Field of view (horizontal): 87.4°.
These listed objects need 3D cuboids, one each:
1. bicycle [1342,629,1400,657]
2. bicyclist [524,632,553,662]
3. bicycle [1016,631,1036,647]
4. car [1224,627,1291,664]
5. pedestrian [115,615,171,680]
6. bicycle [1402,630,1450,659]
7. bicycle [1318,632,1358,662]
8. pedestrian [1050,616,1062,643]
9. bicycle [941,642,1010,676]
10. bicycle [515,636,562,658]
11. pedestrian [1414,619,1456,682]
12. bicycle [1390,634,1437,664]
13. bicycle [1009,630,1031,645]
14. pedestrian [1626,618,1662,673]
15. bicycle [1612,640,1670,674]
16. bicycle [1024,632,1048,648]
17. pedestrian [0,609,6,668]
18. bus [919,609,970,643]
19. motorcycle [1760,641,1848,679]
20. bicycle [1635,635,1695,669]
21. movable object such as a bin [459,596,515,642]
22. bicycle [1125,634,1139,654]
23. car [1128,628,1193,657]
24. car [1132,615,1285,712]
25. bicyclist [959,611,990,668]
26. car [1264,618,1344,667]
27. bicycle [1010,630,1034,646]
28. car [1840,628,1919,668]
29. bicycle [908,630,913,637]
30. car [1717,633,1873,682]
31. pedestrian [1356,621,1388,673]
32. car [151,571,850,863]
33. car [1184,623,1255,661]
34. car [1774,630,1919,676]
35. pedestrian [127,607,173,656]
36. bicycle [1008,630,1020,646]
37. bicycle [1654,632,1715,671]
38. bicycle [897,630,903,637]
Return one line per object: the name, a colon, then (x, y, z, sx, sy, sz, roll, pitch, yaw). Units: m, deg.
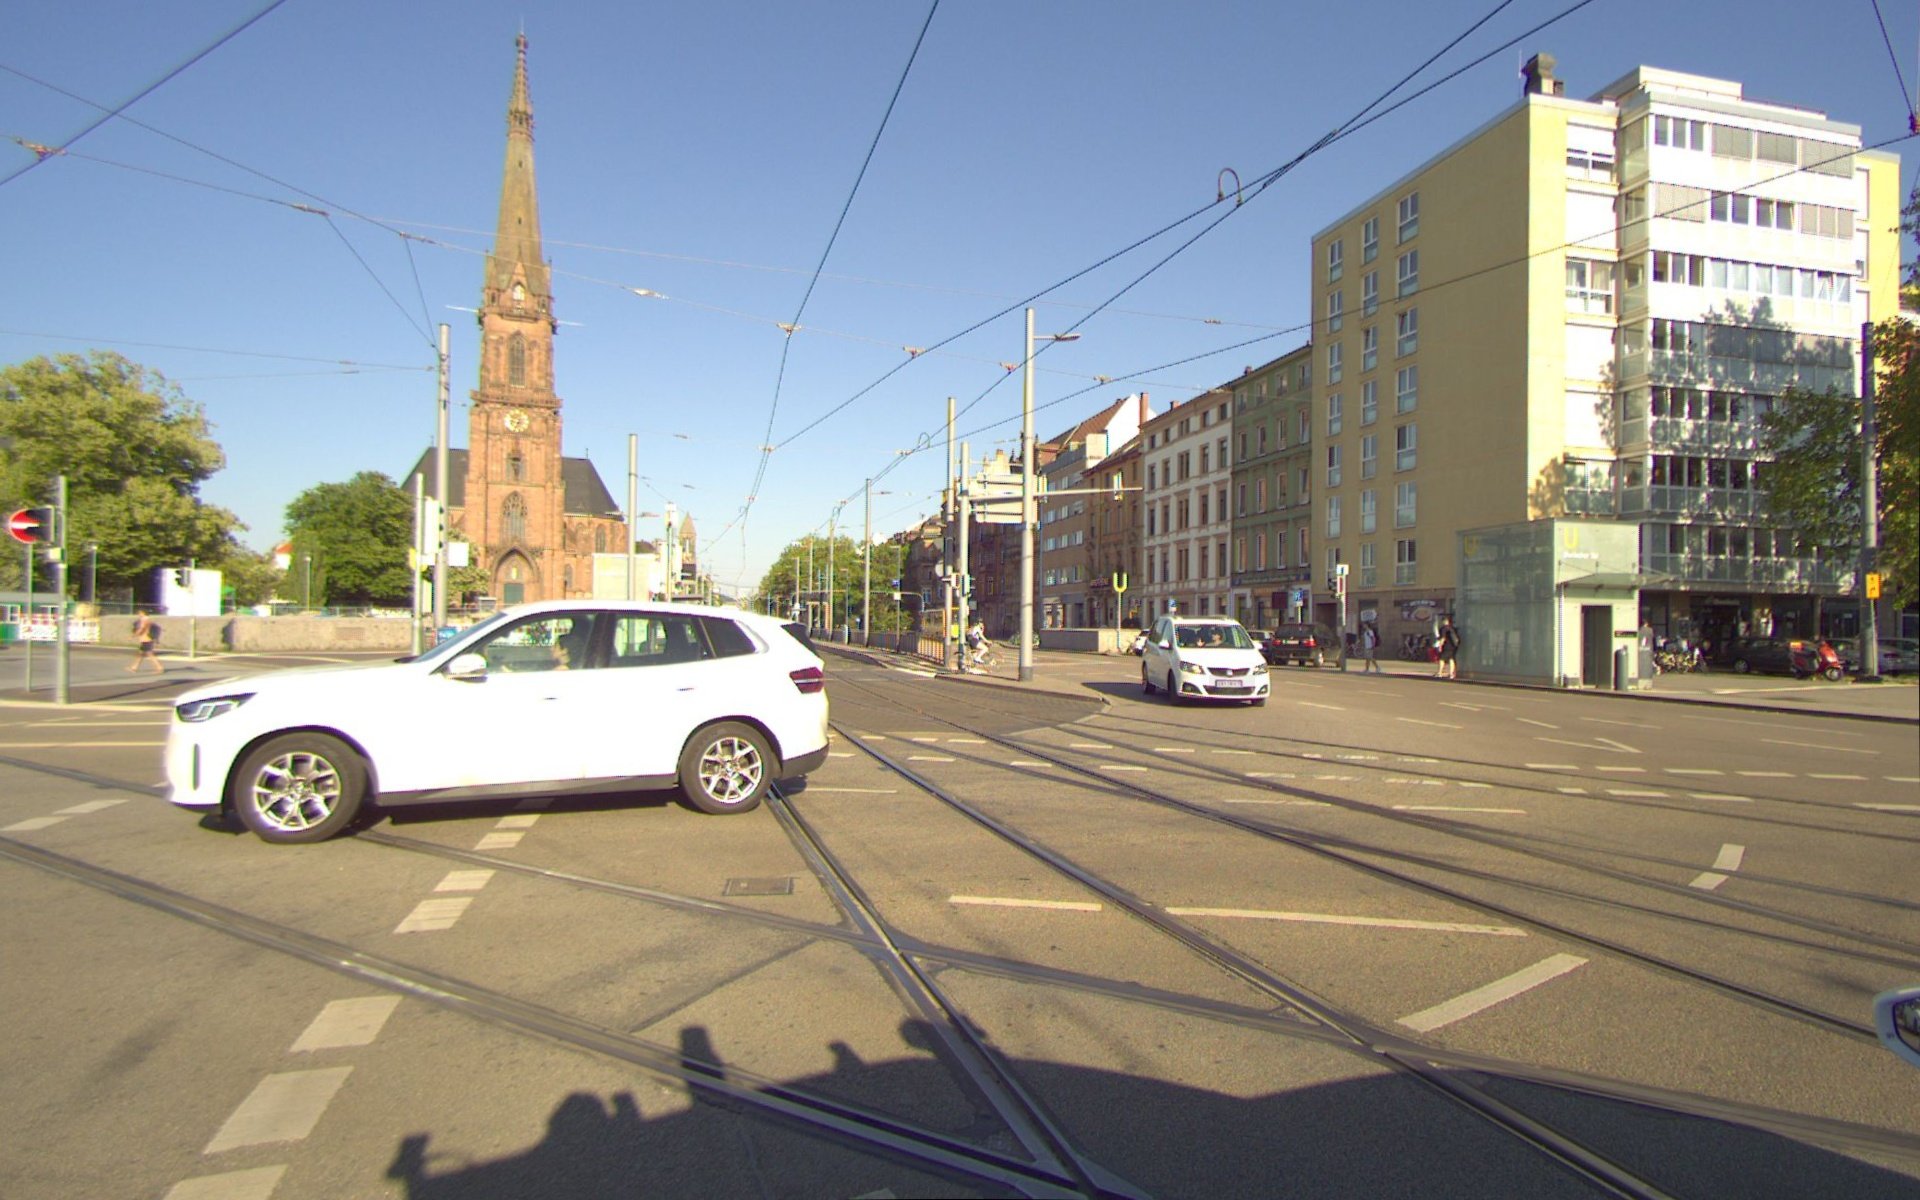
bicycle: (19.741, 2.053, 48.313, 0.971, 1.280, 3.053, 1, -2, -14)
bicyclist: (-19.953, 2.226, 47.589, 0.800, 1.362, 0.901, 2, -1, 24)
bicycle: (4.913, 2.912, 75.212, 0.465, 1.162, 1.753, 2, -1, -36)
car: (12.922, 1.987, 43.444, 1.758, 1.417, 3.884, 1, -3, 33)
pedestrian: (-22.340, 1.275, 27.485, 1.044, 1.709, 0.722, -1, 2, -30)
bicycle: (21.182, 2.004, 45.729, 0.649, 1.265, 2.292, 0, -1, -15)
bicycle: (19.193, 2.360, 51.094, 0.916, 1.375, 2.225, 0, 1, -9)
pedestrian: (7.471, 2.294, 77.896, 0.740, 2.041, 0.696, 0, 2, -13)
bicycle: (0.446, 1.718, 29.504, 1.865, 0.954, 0.812, 0, -1, -18)
bicycle: (-19.957, 2.226, 47.585, 0.800, 0.954, 2.001, 2, -1, 24)
pedestrian: (13.547, 1.419, 28.636, 0.790, 1.750, 0.858, 2, -2, -45)
bicycle: (20.483, 2.202, 45.440, 0.648, 1.265, 2.292, 0, -1, -15)
bicycle: (4.785, 2.990, 80.058, 1.740, 1.203, 0.469, 2, -1, -14)
pedestrian: (22.216, 1.481, 32.634, 0.738, 1.750, 0.698, 0, -1, 8)
bicycle: (26.212, 2.176, 38.667, 1.967, 1.265, 0.812, 0, -1, -19)
bicycle: (5.765, 3.038, 76.161, 1.740, 1.194, 0.469, 2, -1, -14)
pedestrian: (-29.328, 1.178, 29.914, 0.791, 1.792, 1.176, 0, 2, -13)
bus: (-1.720, 2.649, 103.594, 2.677, 3.223, 12.510, 0, -1, -13)
motorcycle: (24.804, 1.754, 29.557, 0.866, 1.060, 1.799, 0, -2, -15)
bicycle: (26.502, 1.939, 37.756, 1.967, 1.216, 0.812, 0, -1, -19)
movable object such as a bin: (-28.906, 1.095, 61.304, 2.604, 2.560, 5.126, -1, 2, -31)
bicycle: (9.775, 2.523, 57.146, 0.412, 1.125, 1.094, 2, -1, 28)
car: (10.787, 2.267, 53.906, 1.929, 1.483, 4.100, 0, -2, 35)
car: (4.866, 1.192, 20.353, 1.904, 1.756, 4.464, 0, -1, -2)
bicyclist: (0.432, 1.157, 29.509, 0.665, 1.637, 0.812, 0, -1, -18)
car: (13.946, 1.726, 40.595, 1.928, 1.838, 4.238, 1, -2, 35)
bicycle: (4.901, 2.997, 79.570, 1.767, 1.203, 0.469, 2, -1, -14)
car: (38.506, 1.953, 40.676, 1.824, 1.439, 3.990, 0, 1, -12)
bicycle: (-7.951, 5.411, 161.136, 0.510, 1.062, 1.815, 0, 1, -14)
car: (31.246, 2.107, 37.770, 1.826, 1.503, 4.213, 0, 1, -16)
pedestrian: (13.876, 1.570, 33.837, 0.689, 1.750, 0.747, 1, -1, -29)
car: (-3.365, 0.777, 8.068, 4.567, 1.769, 1.927, 1, -2, -30)
car: (12.160, 1.962, 46.904, 1.927, 1.619, 4.240, 1, -2, 33)
car: (33.837, 1.994, 38.394, 1.824, 1.439, 3.990, 0, 1, -12)
pedestrian: (-29.552, 1.143, 36.659, 0.714, 1.709, 1.057, 1, 2, 16)
bicycle: (4.161, 2.942, 77.778, 0.462, 1.162, 1.766, 1, -1, -13)
bicycle: (26.556, 1.887, 36.826, 1.967, 1.363, 0.812, 0, -1, -19)
bicycle: (-9.595, 5.396, 160.701, 0.510, 1.062, 1.815, 0, 1, -14)
